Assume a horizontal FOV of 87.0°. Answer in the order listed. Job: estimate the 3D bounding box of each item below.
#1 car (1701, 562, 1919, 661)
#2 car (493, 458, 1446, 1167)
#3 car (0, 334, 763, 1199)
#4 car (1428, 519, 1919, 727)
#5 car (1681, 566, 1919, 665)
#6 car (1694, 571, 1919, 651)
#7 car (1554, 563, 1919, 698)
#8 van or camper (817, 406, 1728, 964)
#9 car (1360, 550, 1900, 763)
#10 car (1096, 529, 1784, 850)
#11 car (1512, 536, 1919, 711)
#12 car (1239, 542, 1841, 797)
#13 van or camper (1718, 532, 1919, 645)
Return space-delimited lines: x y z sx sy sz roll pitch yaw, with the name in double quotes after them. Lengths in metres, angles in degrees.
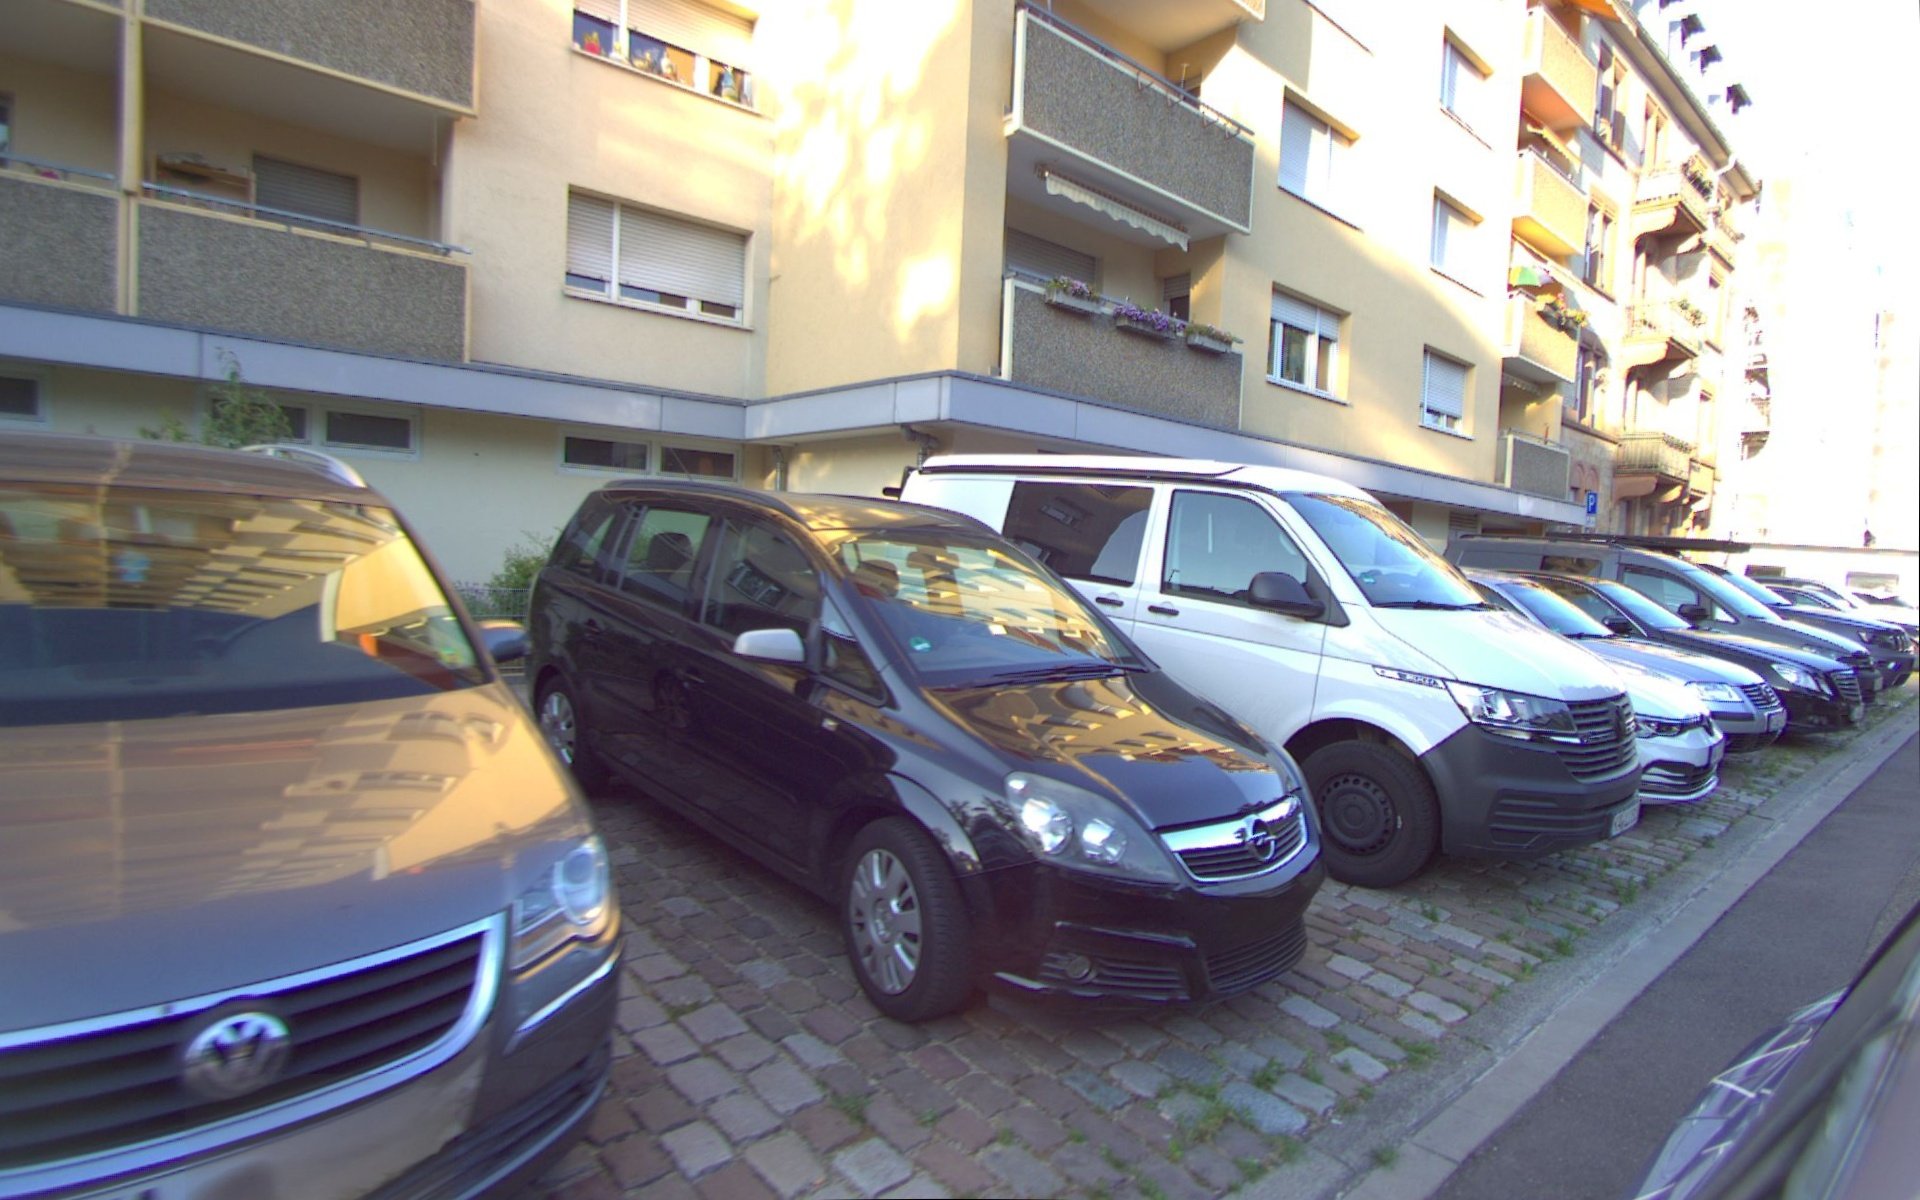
19.073 0.181 21.991 1.813 1.768 4.417 -2 6 -39 "car"
-0.449 0.269 4.560 1.752 1.680 4.334 -3 8 -43 "car"
-2.596 0.243 3.162 1.815 1.680 4.412 -3 8 -43 "car"
8.602 0.060 12.590 1.814 2.004 4.648 -2 6 -41 "car"
17.308 0.246 20.166 1.813 1.572 4.415 -2 6 -40 "car"
20.466 0.194 24.182 1.813 1.638 4.414 -1 3 -39 "car"
12.198 0.331 16.005 1.813 1.572 4.417 -2 6 -39 "car"
1.427 0.023 6.493 2.006 2.192 5.145 -1 8 -43 "van or camper"
6.835 0.368 10.773 1.814 1.581 4.414 -3 6 -41 "car"
3.350 0.355 7.859 1.814 1.650 4.414 -3 6 -41 "car"
10.456 0.166 13.994 1.814 1.885 4.523 0 5 -41 "car"
5.013 0.366 9.323 1.814 1.611 4.414 -3 6 -41 "car"
23.112 -0.277 25.416 2.014 2.533 6.075 0 5 -41 "van or camper"
